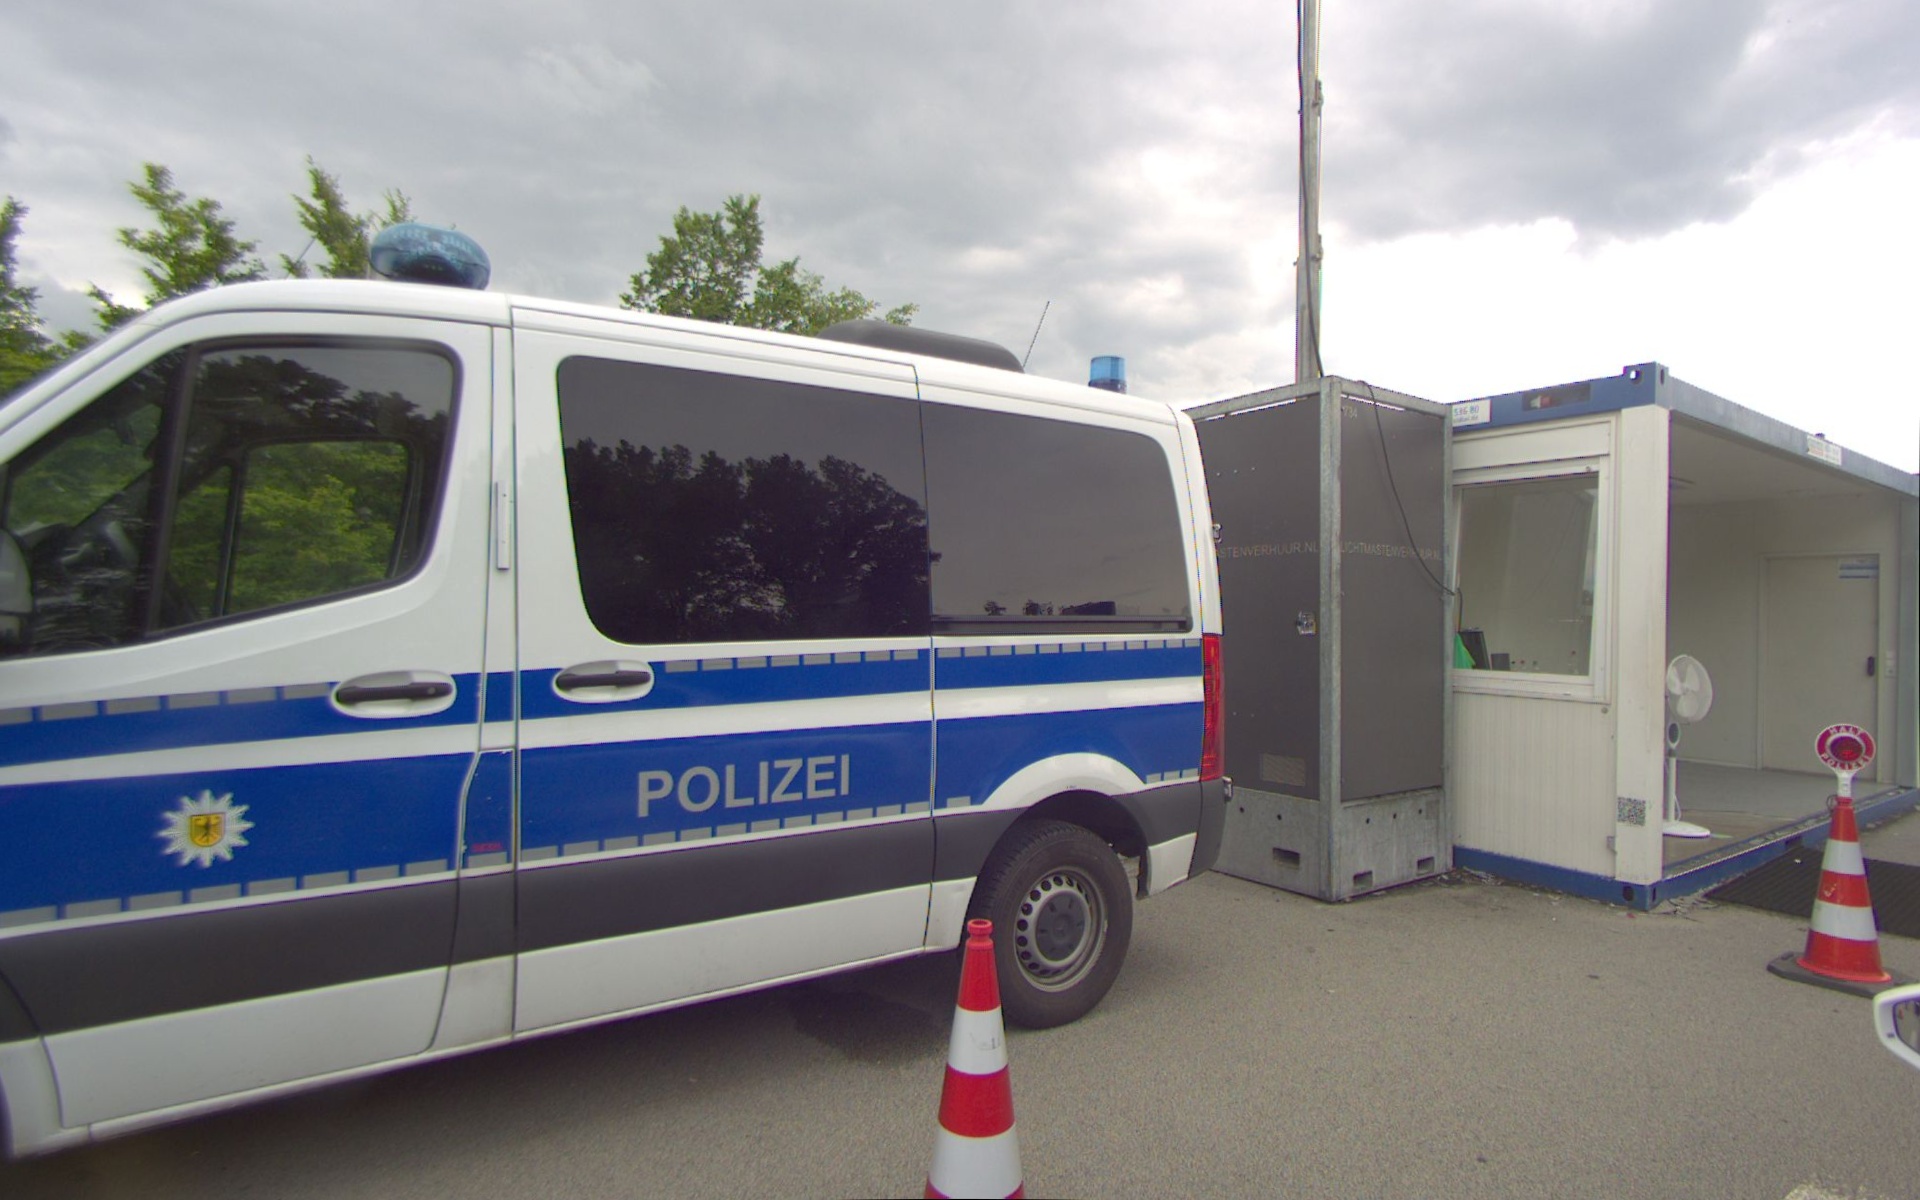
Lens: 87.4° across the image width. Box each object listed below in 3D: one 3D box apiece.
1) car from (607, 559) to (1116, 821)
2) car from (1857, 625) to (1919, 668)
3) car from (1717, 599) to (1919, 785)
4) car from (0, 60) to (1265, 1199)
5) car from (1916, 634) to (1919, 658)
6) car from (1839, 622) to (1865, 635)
[{"bbox_3d":[-0.762,0.649,8.665,3.966,1.766,1.857,1,0,-34],"label":"car"},{"bbox_3d":[36.027,1.744,38.656,4.225,1.518,1.838,2,-1,-42],"label":"car"},{"bbox_3d":[10.387,0.919,11.242,3.966,1.766,1.857,1,0,-34],"label":"car"},{"bbox_3d":[-1.518,0.213,3.426,5.223,2.496,2.017,1,0,-33],"label":"car"},{"bbox_3d":[59.984,2.845,61.644,1.833,1.482,3.975,1,-1,45],"label":"car"},{"bbox_3d":[107.062,3.443,120.617,1.827,1.482,3.988,1,0,35],"label":"car"}]
